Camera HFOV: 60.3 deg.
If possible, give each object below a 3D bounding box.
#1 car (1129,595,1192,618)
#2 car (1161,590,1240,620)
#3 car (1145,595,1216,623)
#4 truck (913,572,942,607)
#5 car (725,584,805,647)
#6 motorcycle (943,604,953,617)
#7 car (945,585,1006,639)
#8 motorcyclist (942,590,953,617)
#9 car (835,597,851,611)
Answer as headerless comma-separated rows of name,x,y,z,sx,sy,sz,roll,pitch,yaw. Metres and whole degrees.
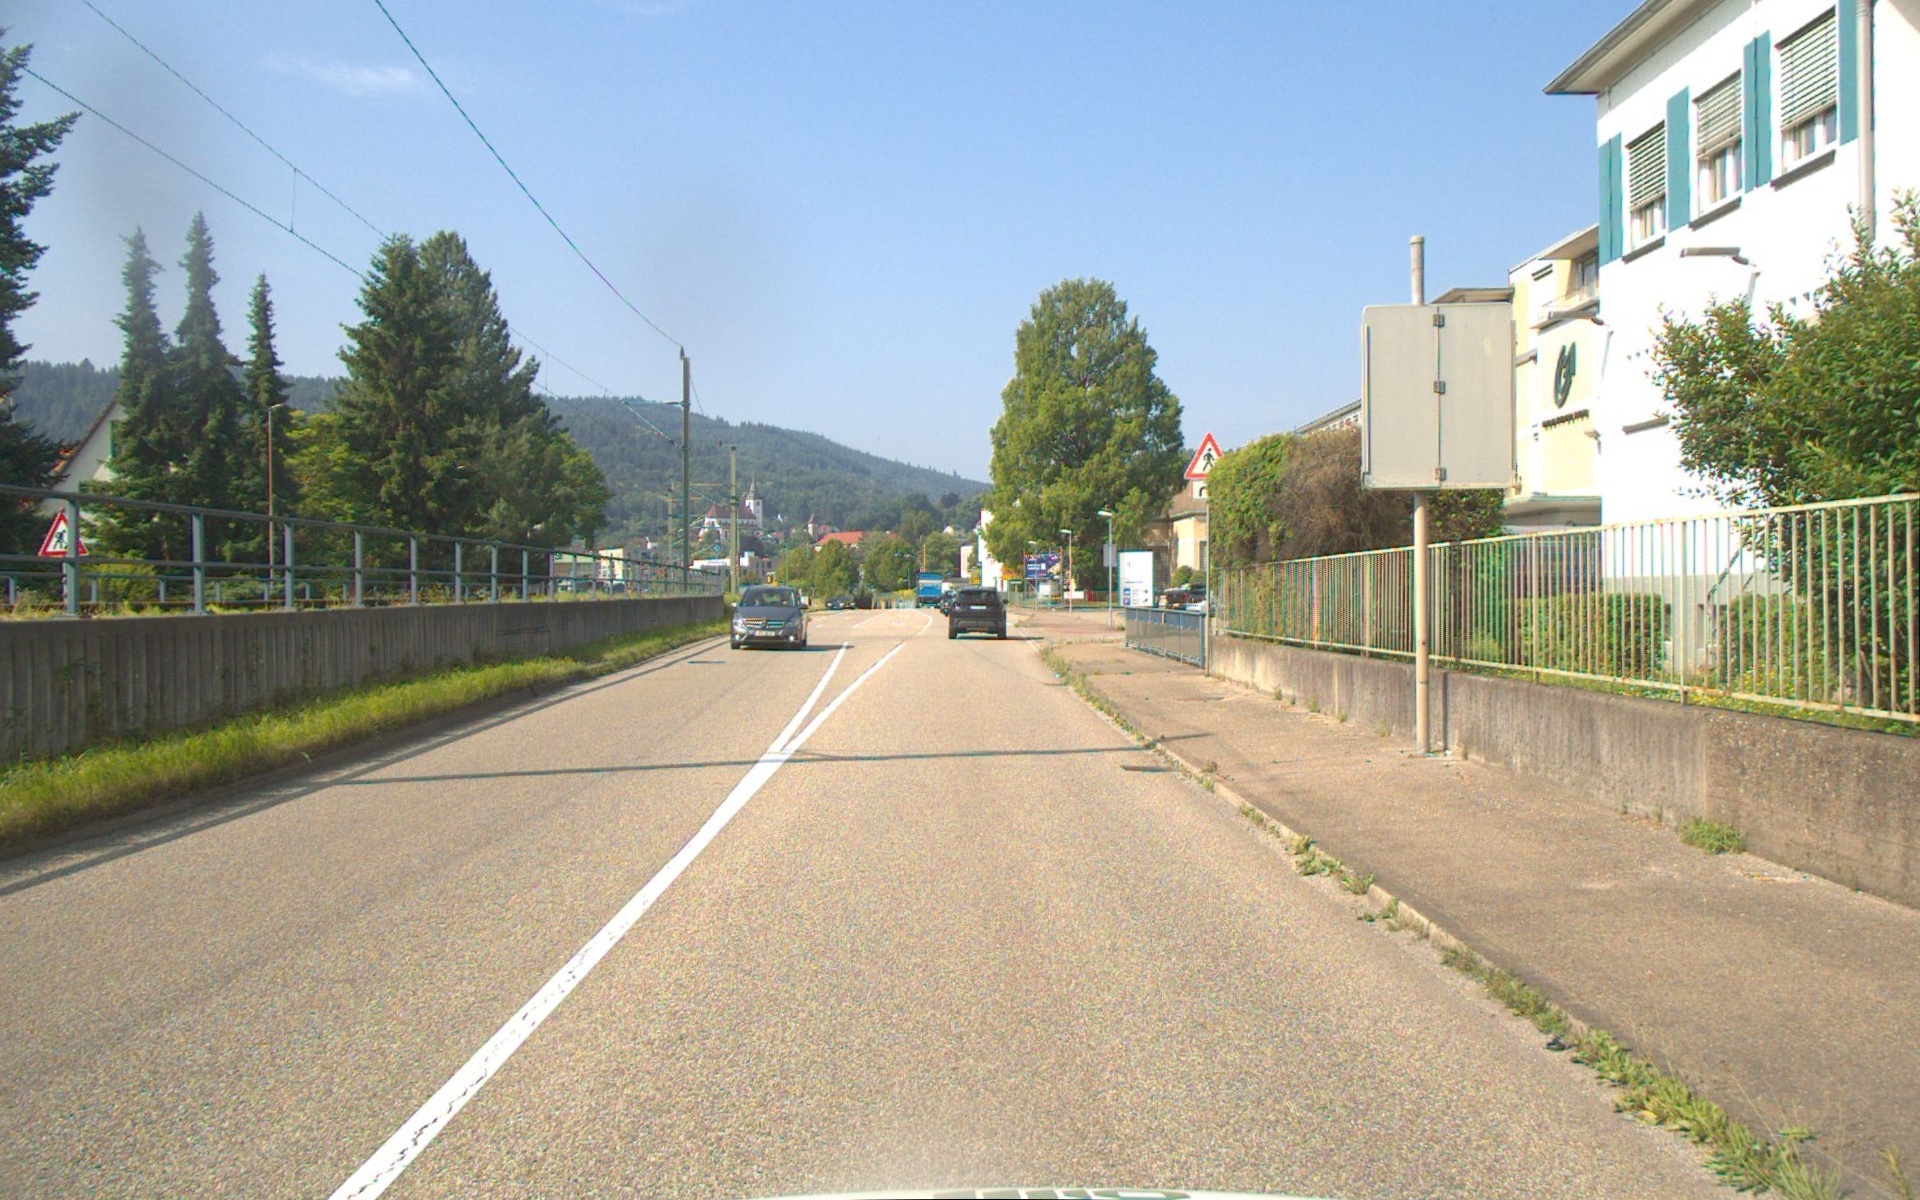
car,12.936,0.407,106.586,3.948,1.425,1.646,0,0,-32
car,13.071,0.275,89.875,3.944,1.531,1.868,-1,0,-30
car,13.697,0.534,102.523,4.116,1.701,1.851,0,0,-31
truck,-2.917,-0.899,147.213,2.266,3.022,5.961,0,0,-3
car,-4.905,0.383,42.117,1.707,1.533,4.197,0,0,-3
motorcycle,-0.703,0.628,96.982,0.594,0.766,1.414,-1,0,-1
car,0.519,0.361,53.383,1.880,1.668,4.000,0,0,1
motorcyclist,-0.739,0.213,96.984,0.594,1.547,0.863,-1,0,-1
car,-12.606,0.463,178.533,1.720,1.454,3.997,0,0,-3
